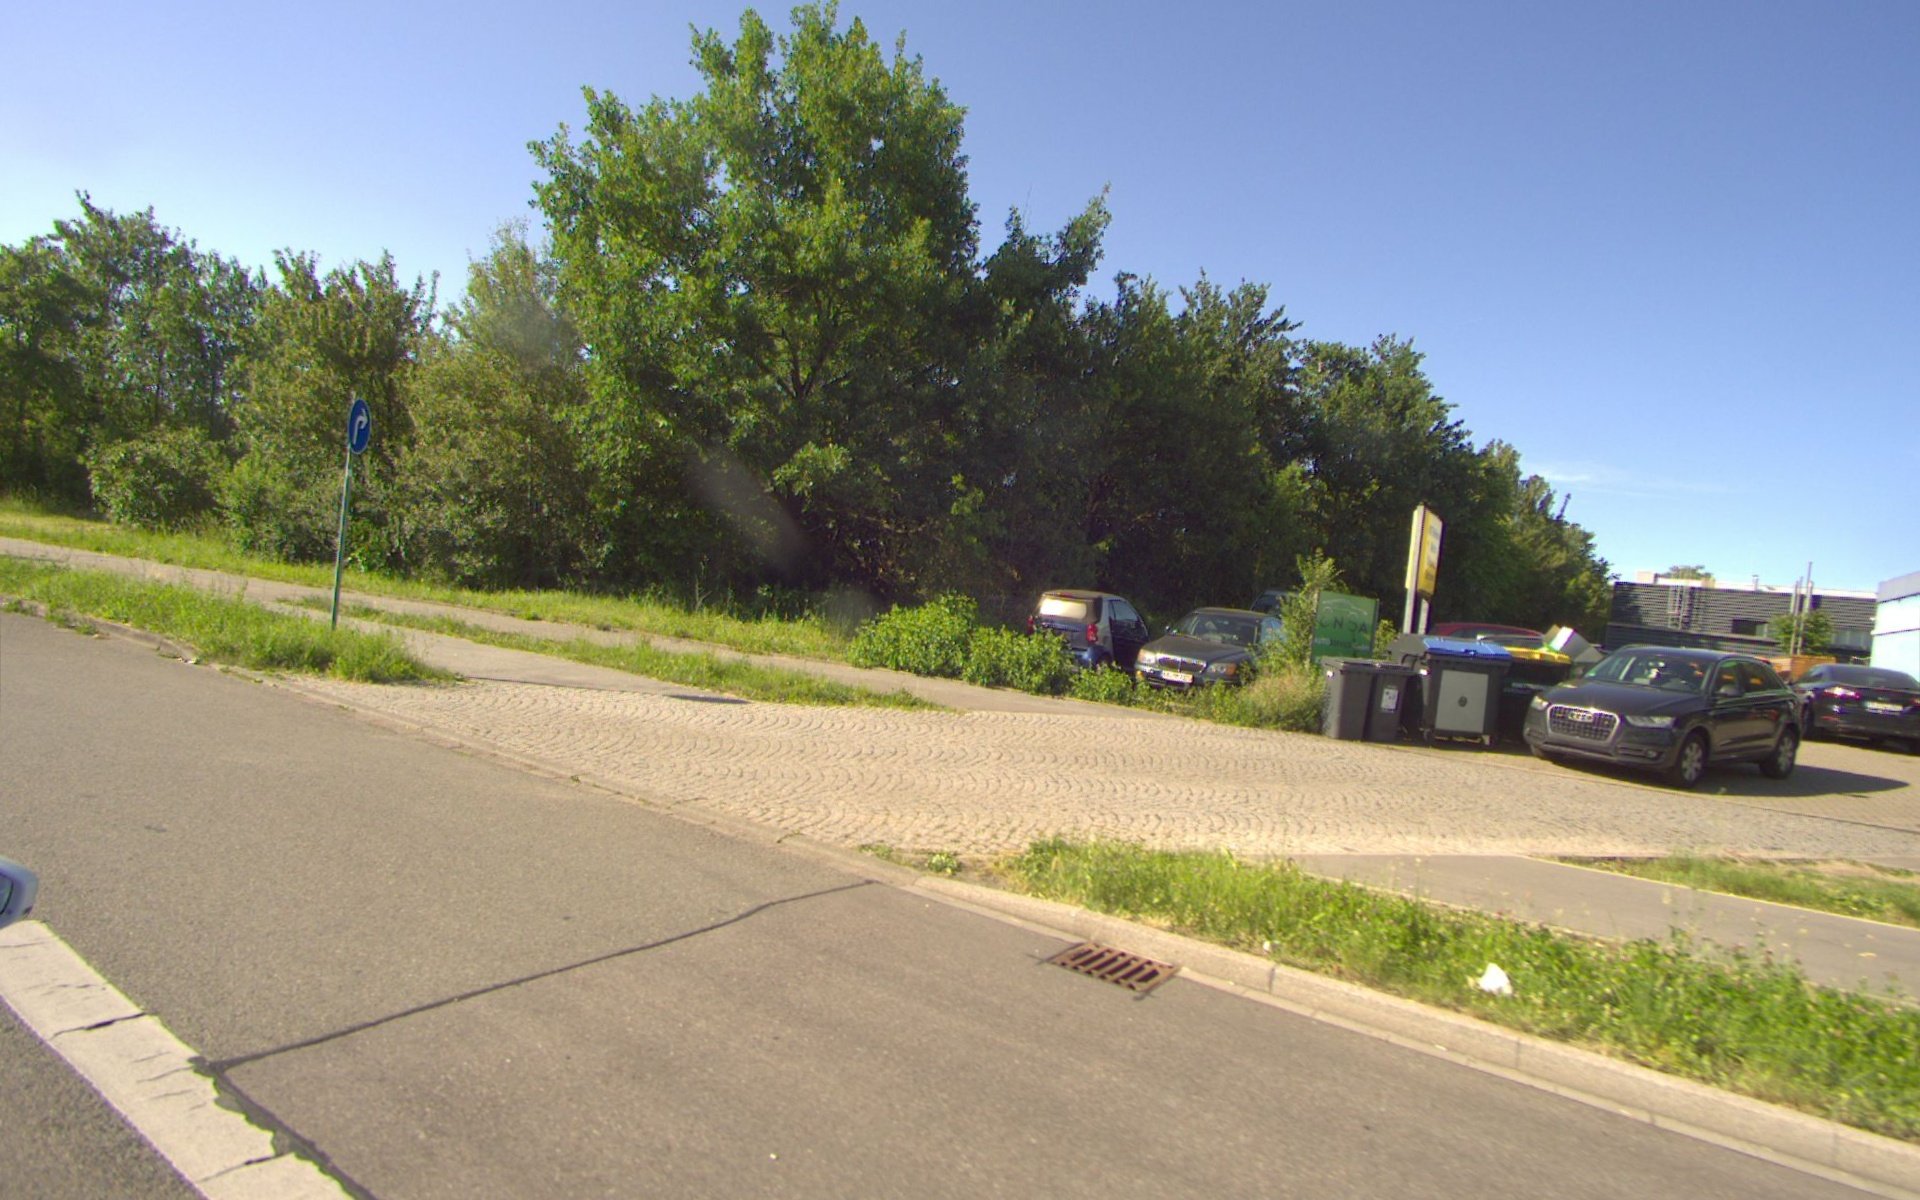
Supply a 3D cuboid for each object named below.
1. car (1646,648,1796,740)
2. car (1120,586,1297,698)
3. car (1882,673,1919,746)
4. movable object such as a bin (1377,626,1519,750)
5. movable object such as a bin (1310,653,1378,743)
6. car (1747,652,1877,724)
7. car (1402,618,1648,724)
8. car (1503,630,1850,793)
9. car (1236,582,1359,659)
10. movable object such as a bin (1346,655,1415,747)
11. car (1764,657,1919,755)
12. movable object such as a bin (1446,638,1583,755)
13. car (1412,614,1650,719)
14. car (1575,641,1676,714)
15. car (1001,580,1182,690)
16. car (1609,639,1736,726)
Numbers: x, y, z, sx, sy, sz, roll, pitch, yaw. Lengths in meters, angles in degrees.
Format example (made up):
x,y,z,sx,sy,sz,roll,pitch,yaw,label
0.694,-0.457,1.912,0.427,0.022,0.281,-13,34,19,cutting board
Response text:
x,y,z,sx,sy,sz,roll,pitch,yaw,label
15.589,1.857,20.823,1.668,1.536,3.994,6,0,27,car
4.131,0.730,16.408,1.700,1.434,3.289,6,-2,33,car
20.107,2.302,19.861,1.682,1.435,3.994,6,0,27,car
6.593,1.174,13.649,1.240,1.446,0.987,7,0,-11,movable object such as a bin
5.126,1.302,13.456,0.501,1.088,0.581,7,0,-10,movable object such as a bin
25.923,2.700,30.794,1.966,1.803,4.521,7,-2,28,car
10.809,1.342,19.418,3.851,1.481,1.727,6,-1,32,car
9.342,1.422,13.044,4.506,1.662,1.787,4,2,-29,car
8.127,0.511,24.001,1.706,1.551,4.037,6,2,33,car
5.663,1.349,13.566,0.501,1.135,0.581,7,0,-10,movable object such as a bin
17.207,1.977,19.448,1.705,1.536,3.994,6,0,27,car
7.850,1.347,14.291,1.204,1.446,0.987,7,0,-11,movable object such as a bin
11.948,1.371,21.229,4.067,1.626,1.716,6,-1,32,car
19.705,2.336,29.963,1.966,1.803,3.997,7,-2,28,car
2.370,0.663,17.517,1.743,1.503,3.289,6,-2,33,car
17.888,2.098,25.452,1.966,1.803,3.997,7,-2,28,car
